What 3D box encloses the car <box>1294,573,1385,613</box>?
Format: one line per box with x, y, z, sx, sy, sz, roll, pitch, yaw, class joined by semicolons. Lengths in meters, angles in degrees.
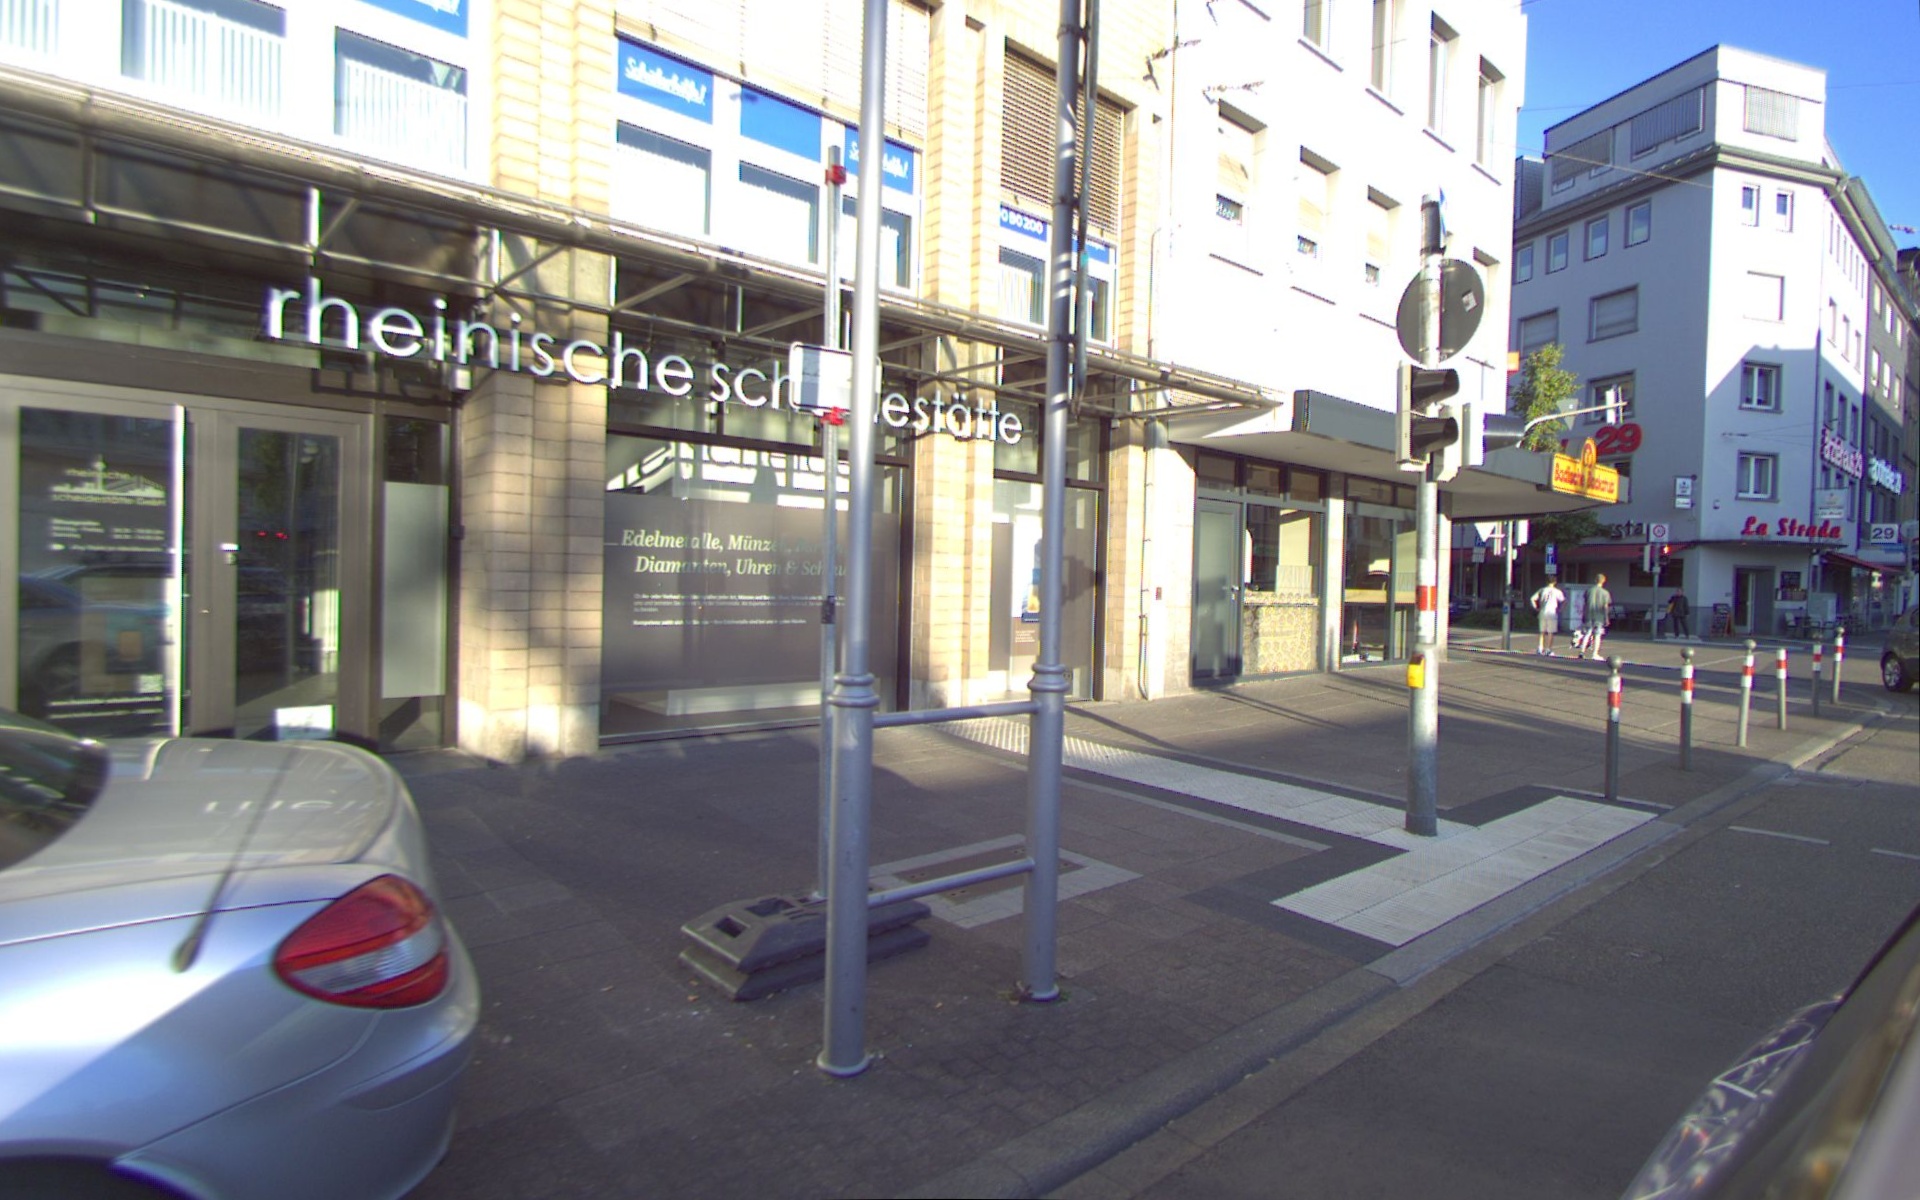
17.566;-0.361;47.032;1.684;1.684;4.010;-1;3;-20;car

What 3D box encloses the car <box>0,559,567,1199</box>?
-2.776;0.583;1.215;3.990;1.298;1.678;0;2;-39;car

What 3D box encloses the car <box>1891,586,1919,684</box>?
14.946;0.582;14.074;1.569;1.471;3.817;2;2;21;car

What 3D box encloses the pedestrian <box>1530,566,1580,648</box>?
13.332;0.140;22.676;0.627;1.795;0.749;1;1;-38;pedestrian

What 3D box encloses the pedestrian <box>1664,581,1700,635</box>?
23.109;0.248;32.381;0.577;1.676;0.798;1;1;-44;pedestrian

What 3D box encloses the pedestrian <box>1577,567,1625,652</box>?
13.867;0.192;21.889;0.747;1.795;0.578;2;1;42;pedestrian

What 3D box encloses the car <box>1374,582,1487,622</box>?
19.123;0.030;41.333;1.619;1.370;4.323;2;2;-18;car
